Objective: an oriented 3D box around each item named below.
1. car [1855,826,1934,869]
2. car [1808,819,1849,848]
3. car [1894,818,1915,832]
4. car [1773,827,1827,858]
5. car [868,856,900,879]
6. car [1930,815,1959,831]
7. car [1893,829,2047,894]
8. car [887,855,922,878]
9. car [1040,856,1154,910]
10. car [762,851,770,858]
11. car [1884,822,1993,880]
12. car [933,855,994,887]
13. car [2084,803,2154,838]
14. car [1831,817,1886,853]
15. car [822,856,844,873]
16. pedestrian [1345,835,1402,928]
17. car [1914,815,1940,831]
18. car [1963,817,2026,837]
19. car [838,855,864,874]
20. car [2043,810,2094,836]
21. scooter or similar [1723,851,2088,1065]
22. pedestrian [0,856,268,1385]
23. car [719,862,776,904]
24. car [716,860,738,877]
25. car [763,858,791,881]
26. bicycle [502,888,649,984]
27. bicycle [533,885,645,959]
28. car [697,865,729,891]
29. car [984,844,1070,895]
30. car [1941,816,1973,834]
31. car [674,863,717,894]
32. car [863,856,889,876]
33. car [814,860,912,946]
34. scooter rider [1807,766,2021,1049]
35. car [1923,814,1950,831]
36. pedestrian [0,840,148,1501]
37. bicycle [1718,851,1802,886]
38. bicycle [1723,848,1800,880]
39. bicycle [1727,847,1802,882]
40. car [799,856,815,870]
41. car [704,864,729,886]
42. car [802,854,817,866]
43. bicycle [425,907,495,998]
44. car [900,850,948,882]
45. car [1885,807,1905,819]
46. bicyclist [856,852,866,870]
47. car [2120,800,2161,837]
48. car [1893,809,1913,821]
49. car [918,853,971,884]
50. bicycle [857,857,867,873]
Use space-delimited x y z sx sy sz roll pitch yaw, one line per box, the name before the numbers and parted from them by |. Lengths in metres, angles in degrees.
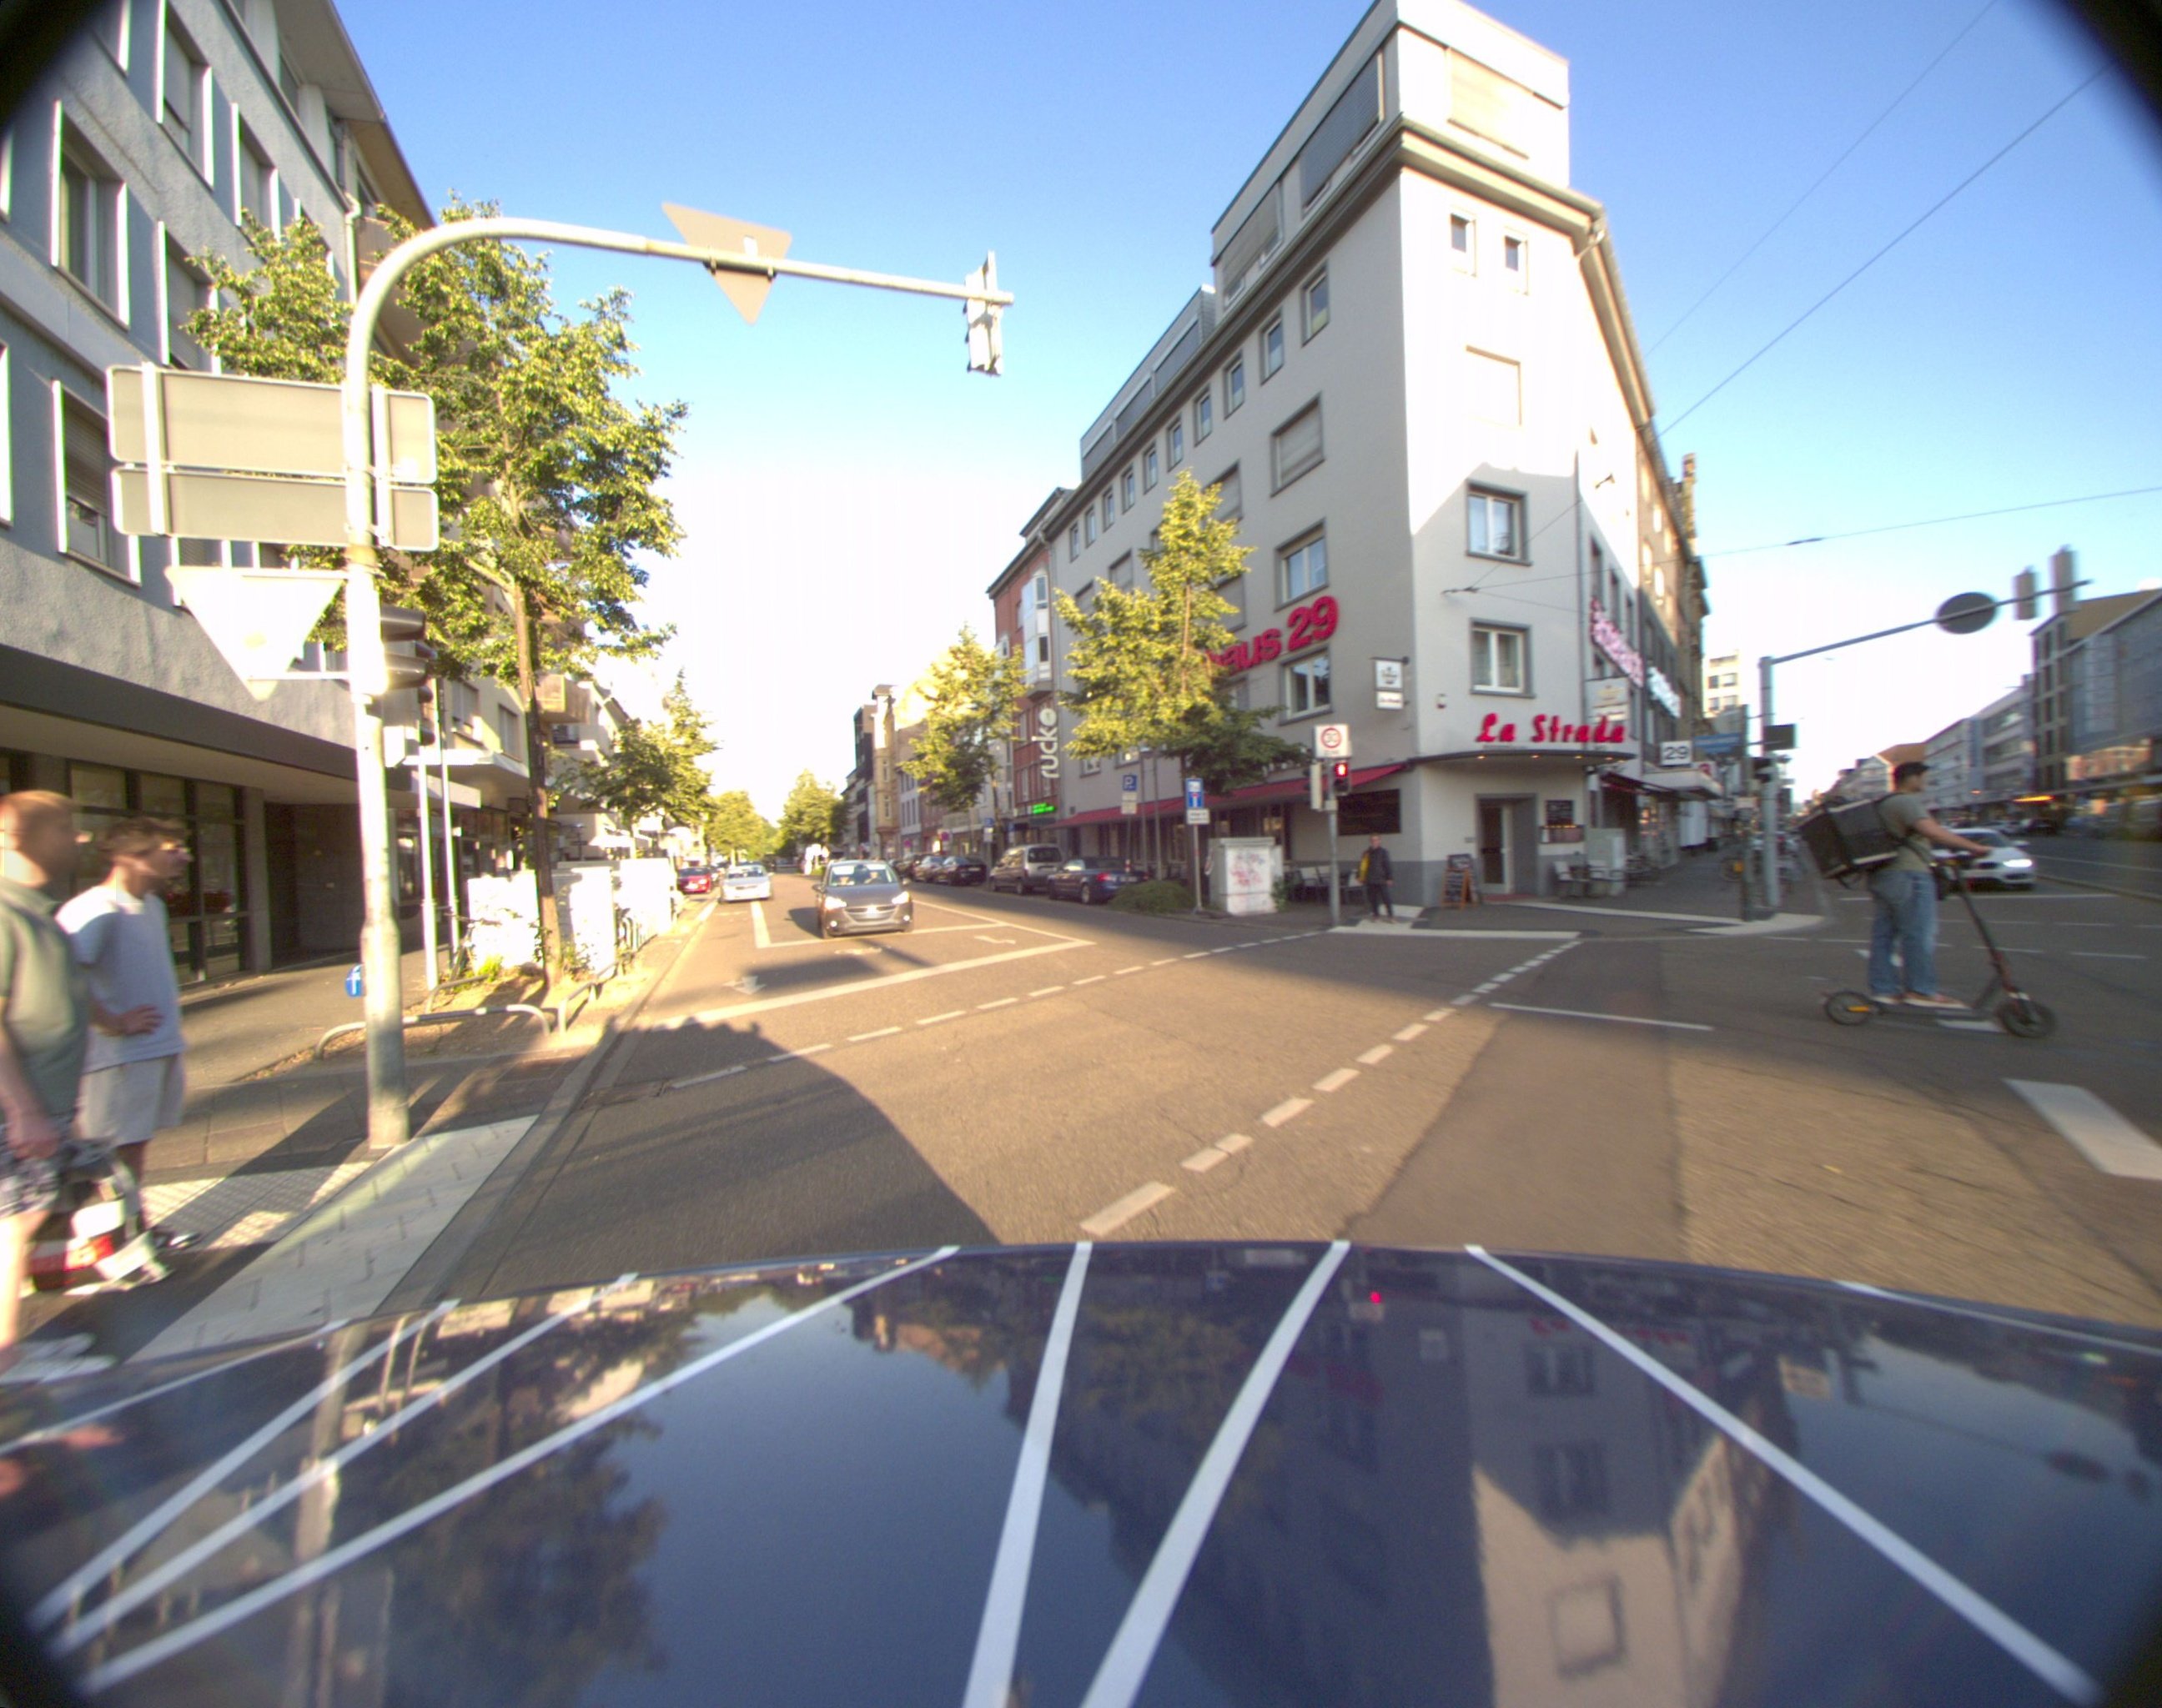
car | 33.435 -0.269 31.342 1.994 1.630 4.008 -1 0 44
car | 56.512 -1.556 57.522 1.994 2.002 4.007 -1 2 42
car | 132.311 -4.616 122.076 1.994 2.002 4.007 -1 3 43
car | 38.861 -0.633 41.155 2.037 1.550 4.395 -1 1 42
car | -16.072 1.027 61.899 1.880 1.718 4.132 -2 1 -23
car | 113.125 -4.059 99.599 1.970 2.002 4.007 -1 2 41
car | 20.848 0.157 17.988 1.911 1.350 3.753 -3 -1 43
car | -12.586 0.893 54.019 1.739 1.516 3.835 -2 0 -23
car | 0.351 0.780 22.489 1.656 1.345 4.302 -1 1 -24
car | -72.939 0.073 176.074 1.675 1.630 3.249 -4 2 -23
car | 25.758 -0.120 22.956 4.007 1.471 1.994 -5 2 -44
car | -5.767 0.787 36.892 1.807 1.385 4.408 -2 1 -24
car | 66.695 -2.195 48.878 1.994 2.047 4.007 -1 3 44
car | 42.776 -1.071 41.883 1.900 1.778 3.945 -1 2 43
car | -26.122 1.114 79.979 1.798 1.606 3.965 -4 2 -23
pedestrian | 5.387 0.493 13.976 0.798 1.646 0.588 -1 1 40
car | 121.938 -4.494 109.542 1.956 2.002 4.007 -1 2 41
car | 86.126 -2.547 71.685 1.804 1.738 3.839 -3 2 12
car | -22.467 0.994 74.061 1.884 1.667 4.029 -4 2 -23
car | 79.684 -2.550 61.355 1.829 1.906 4.007 -1 2 42
scooter or similar | 5.743 0.679 5.436 1.665 1.343 0.547 -2 1 31
pedestrian | -3.739 0.904 2.983 0.640 1.763 0.747 -3 2 -44
car | -13.032 1.079 29.831 1.793 1.361 4.564 -4 2 -23
car | -34.426 1.372 74.007 1.768 1.563 3.865 -2 0 -23
car | -22.596 1.123 56.426 1.694 1.534 3.723 -4 2 -25
bicycle | -7.165 1.138 10.853 1.664 1.187 0.476 -3 1 -28
bicycle | -9.015 1.220 13.956 1.665 1.187 0.492 -2 1 -36
car | -22.554 1.460 46.630 1.617 1.386 3.687 -4 1 -25
car | -2.089 0.518 28.237 1.722 1.654 3.991 -4 2 -26
car | 107.272 -3.577 93.083 1.994 2.002 4.007 -1 2 41
car | -20.174 1.252 39.874 1.656 1.420 3.992 -4 1 -23
car | -18.019 1.034 66.668 1.688 1.581 3.509 -2 1 -23
car | -4.534 0.880 15.458 1.589 1.445 3.836 -2 1 -20
scooter rider | 5.810 0.342 5.366 0.786 1.797 0.815 -2 1 30
car | 117.348 -4.368 104.257 1.971 2.181 4.141 -1 3 43
pedestrian | -3.238 0.854 2.197 0.747 1.763 0.588 -1 1 36
bicycle | 20.172 0.436 22.616 1.824 1.025 0.444 -1 1 37
bicycle | 21.108 0.289 23.607 1.757 0.944 0.444 0 3 37
bicycle | 22.055 0.337 24.559 1.757 1.065 0.444 0 4 37
car | -37.337 1.181 103.490 1.790 1.762 3.865 -2 0 -23
car | -25.479 1.447 53.219 1.433 1.443 3.374 -3 1 -24
car | -40.308 0.889 112.769 1.768 1.762 3.865 -2 1 -23
bicycle | -8.064 1.237 9.910 0.405 1.004 1.666 0 -1 -29
car | -10.076 0.757 48.454 1.976 1.873 4.938 -2 0 -23
car | 148.091 -7.539 138.239 1.994 2.002 4.007 -1 2 41
bicyclist | -16.697 0.521 57.774 0.570 1.295 0.659 -4 2 -24
car | 62.217 -2.069 43.820 1.994 2.002 4.007 -1 3 43
car | 145.258 -6.881 134.316 1.994 2.002 4.007 -1 2 41
car | -7.618 0.761 42.032 1.899 1.590 4.935 -1 0 -22
bicycle | -16.675 0.829 57.791 0.421 1.230 1.691 -4 2 -25
